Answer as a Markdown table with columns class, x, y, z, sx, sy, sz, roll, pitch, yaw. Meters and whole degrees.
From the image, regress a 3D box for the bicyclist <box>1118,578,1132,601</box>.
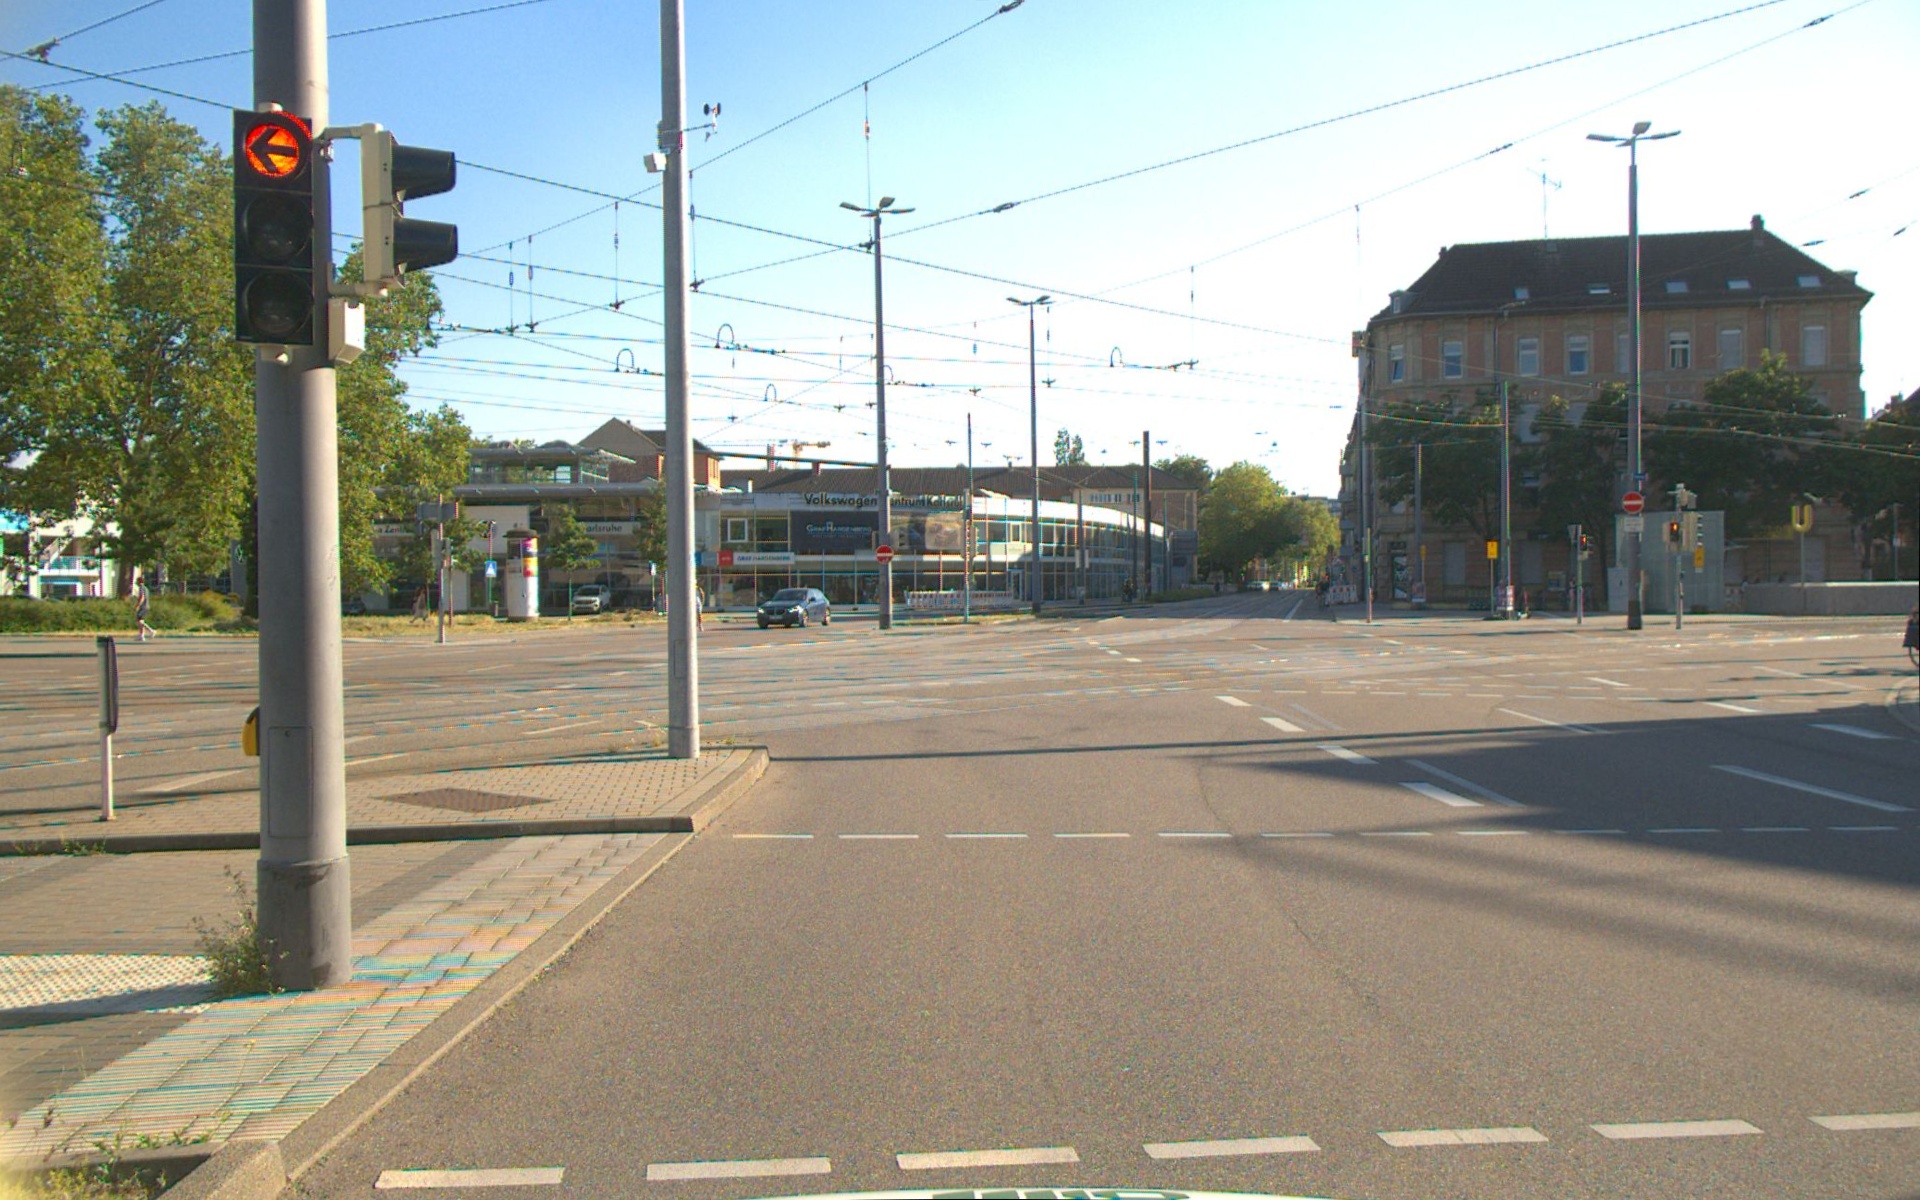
| class | x | y | z | sx | sy | sz | roll | pitch | yaw |
| --- | --- | --- | --- | --- | --- | --- | --- | --- | --- |
| bicyclist | 11.750 | -0.745 | 117.702 | 0.641 | 1.600 | 0.921 | 1 | -1 | 28 |

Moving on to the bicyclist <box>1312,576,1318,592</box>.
| class | x | y | z | sx | sy | sz | roll | pitch | yaw |
| --- | --- | --- | --- | --- | --- | --- | --- | --- | --- |
| bicyclist | 25.261 | -1.145 | 117.628 | 0.399 | 1.136 | 0.399 | 1 | -1 | 11 |

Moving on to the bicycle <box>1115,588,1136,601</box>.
| class | x | y | z | sx | sy | sz | roll | pitch | yaw |
| --- | --- | --- | --- | --- | --- | --- | --- | --- | --- |
| bicycle | 11.802 | -0.372 | 117.776 | 0.626 | 0.885 | 2.231 | 1 | 0 | 29 |

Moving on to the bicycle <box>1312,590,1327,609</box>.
| class | x | y | z | sx | sy | sz | roll | pitch | yaw |
| --- | --- | --- | --- | --- | --- | --- | --- | --- | --- |
| bicycle | 18.432 | -0.004 | 84.840 | 0.643 | 0.969 | 1.601 | 1 | 0 | 9 |

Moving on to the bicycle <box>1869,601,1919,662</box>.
| class | x | y | z | sx | sy | sz | roll | pitch | yaw |
| --- | --- | --- | --- | --- | --- | --- | --- | --- | --- |
| bicycle | 17.653 | 0.586 | 30.205 | 0.524 | 1.067 | 2.316 | 1 | 1 | -9 |

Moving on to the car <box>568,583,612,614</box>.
| class | x | y | z | sx | sy | sz | roll | pitch | yaw |
| --- | --- | --- | --- | --- | --- | --- | --- | --- | --- |
| car | -22.126 | -0.081 | 99.026 | 1.954 | 1.780 | 3.997 | 1 | 0 | -4 |

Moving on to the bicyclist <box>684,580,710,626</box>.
| class | x | y | z | sx | sy | sz | roll | pitch | yaw |
| --- | --- | --- | --- | --- | --- | --- | --- | --- | --- |
| bicyclist | -9.475 | 0.109 | 59.600 | 0.585 | 1.644 | 0.823 | 1 | -1 | 16 |

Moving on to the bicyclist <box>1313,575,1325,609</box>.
| class | x | y | z | sx | sy | sz | roll | pitch | yaw |
| --- | --- | --- | --- | --- | --- | --- | --- | --- | --- |
| bicyclist | 18.444 | -0.408 | 84.885 | 0.508 | 1.730 | 0.516 | 1 | -1 | 2 |

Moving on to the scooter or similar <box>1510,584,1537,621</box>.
| class | x | y | z | sx | sy | sz | roll | pitch | yaw |
| --- | --- | --- | --- | --- | --- | --- | --- | --- | --- |
| scooter or similar | 21.510 | 0.094 | 63.154 | 0.769 | 1.400 | 1.910 | 1 | 0 | 13 |

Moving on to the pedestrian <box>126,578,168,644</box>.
| class | x | y | z | sx | sy | sz | roll | pitch | yaw |
| --- | --- | --- | --- | --- | --- | --- | --- | --- | --- |
| pedestrian | -24.092 | 0.327 | 49.015 | 0.777 | 1.919 | 0.759 | 1 | -1 | 6 |

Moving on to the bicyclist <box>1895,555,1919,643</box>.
| class | x | y | z | sx | sy | sz | roll | pitch | yaw |
| --- | --- | --- | --- | --- | --- | --- | --- | --- | --- |
| bicyclist | 17.659 | -0.014 | 30.239 | 0.505 | 1.584 | 0.945 | 1 | 0 | -8 |

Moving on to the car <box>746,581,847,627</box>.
| class | x | y | z | sx | sy | sz | roll | pitch | yaw |
| --- | --- | --- | --- | --- | --- | --- | --- | --- | --- |
| car | -6.050 | 0.164 | 61.655 | 1.954 | 1.613 | 3.996 | 1 | 0 | 26 |

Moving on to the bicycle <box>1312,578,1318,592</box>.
| class | x | y | z | sx | sy | sz | roll | pitch | yaw |
| --- | --- | --- | --- | --- | --- | --- | --- | --- | --- |
| bicycle | 25.267 | -1.062 | 117.674 | 0.401 | 0.958 | 1.847 | 1 | 0 | 12 |

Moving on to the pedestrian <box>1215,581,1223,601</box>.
| class | x | y | z | sx | sy | sz | roll | pitch | yaw |
| --- | --- | --- | --- | --- | --- | --- | --- | --- | --- |
| pedestrian | 26.625 | -0.966 | 169.891 | 0.702 | 2.049 | 0.758 | 1 | -1 | 1 |

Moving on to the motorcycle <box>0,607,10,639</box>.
| class | x | y | z | sx | sy | sz | roll | pitch | yaw |
| --- | --- | --- | --- | --- | --- | --- | --- | --- | --- |
| motorcycle | -28.927 | 0.671 | 48.513 | 1.748 | 0.930 | 0.675 | 1 | 0 | -21 |

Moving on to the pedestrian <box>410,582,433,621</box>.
| class | x | y | z | sx | sy | sz | roll | pitch | yaw |
| --- | --- | --- | --- | --- | --- | --- | --- | --- | --- |
| pedestrian | -24.216 | 0.060 | 74.393 | 0.839 | 1.723 | 0.496 | 1 | -1 | -3 |

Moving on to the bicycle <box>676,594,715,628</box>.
| class | x | y | z | sx | sy | sz | roll | pitch | yaw |
| --- | --- | --- | --- | --- | --- | --- | --- | --- | --- |
| bicycle | -9.511 | 0.400 | 59.504 | 0.599 | 1.210 | 1.870 | 1 | 0 | 17 |
